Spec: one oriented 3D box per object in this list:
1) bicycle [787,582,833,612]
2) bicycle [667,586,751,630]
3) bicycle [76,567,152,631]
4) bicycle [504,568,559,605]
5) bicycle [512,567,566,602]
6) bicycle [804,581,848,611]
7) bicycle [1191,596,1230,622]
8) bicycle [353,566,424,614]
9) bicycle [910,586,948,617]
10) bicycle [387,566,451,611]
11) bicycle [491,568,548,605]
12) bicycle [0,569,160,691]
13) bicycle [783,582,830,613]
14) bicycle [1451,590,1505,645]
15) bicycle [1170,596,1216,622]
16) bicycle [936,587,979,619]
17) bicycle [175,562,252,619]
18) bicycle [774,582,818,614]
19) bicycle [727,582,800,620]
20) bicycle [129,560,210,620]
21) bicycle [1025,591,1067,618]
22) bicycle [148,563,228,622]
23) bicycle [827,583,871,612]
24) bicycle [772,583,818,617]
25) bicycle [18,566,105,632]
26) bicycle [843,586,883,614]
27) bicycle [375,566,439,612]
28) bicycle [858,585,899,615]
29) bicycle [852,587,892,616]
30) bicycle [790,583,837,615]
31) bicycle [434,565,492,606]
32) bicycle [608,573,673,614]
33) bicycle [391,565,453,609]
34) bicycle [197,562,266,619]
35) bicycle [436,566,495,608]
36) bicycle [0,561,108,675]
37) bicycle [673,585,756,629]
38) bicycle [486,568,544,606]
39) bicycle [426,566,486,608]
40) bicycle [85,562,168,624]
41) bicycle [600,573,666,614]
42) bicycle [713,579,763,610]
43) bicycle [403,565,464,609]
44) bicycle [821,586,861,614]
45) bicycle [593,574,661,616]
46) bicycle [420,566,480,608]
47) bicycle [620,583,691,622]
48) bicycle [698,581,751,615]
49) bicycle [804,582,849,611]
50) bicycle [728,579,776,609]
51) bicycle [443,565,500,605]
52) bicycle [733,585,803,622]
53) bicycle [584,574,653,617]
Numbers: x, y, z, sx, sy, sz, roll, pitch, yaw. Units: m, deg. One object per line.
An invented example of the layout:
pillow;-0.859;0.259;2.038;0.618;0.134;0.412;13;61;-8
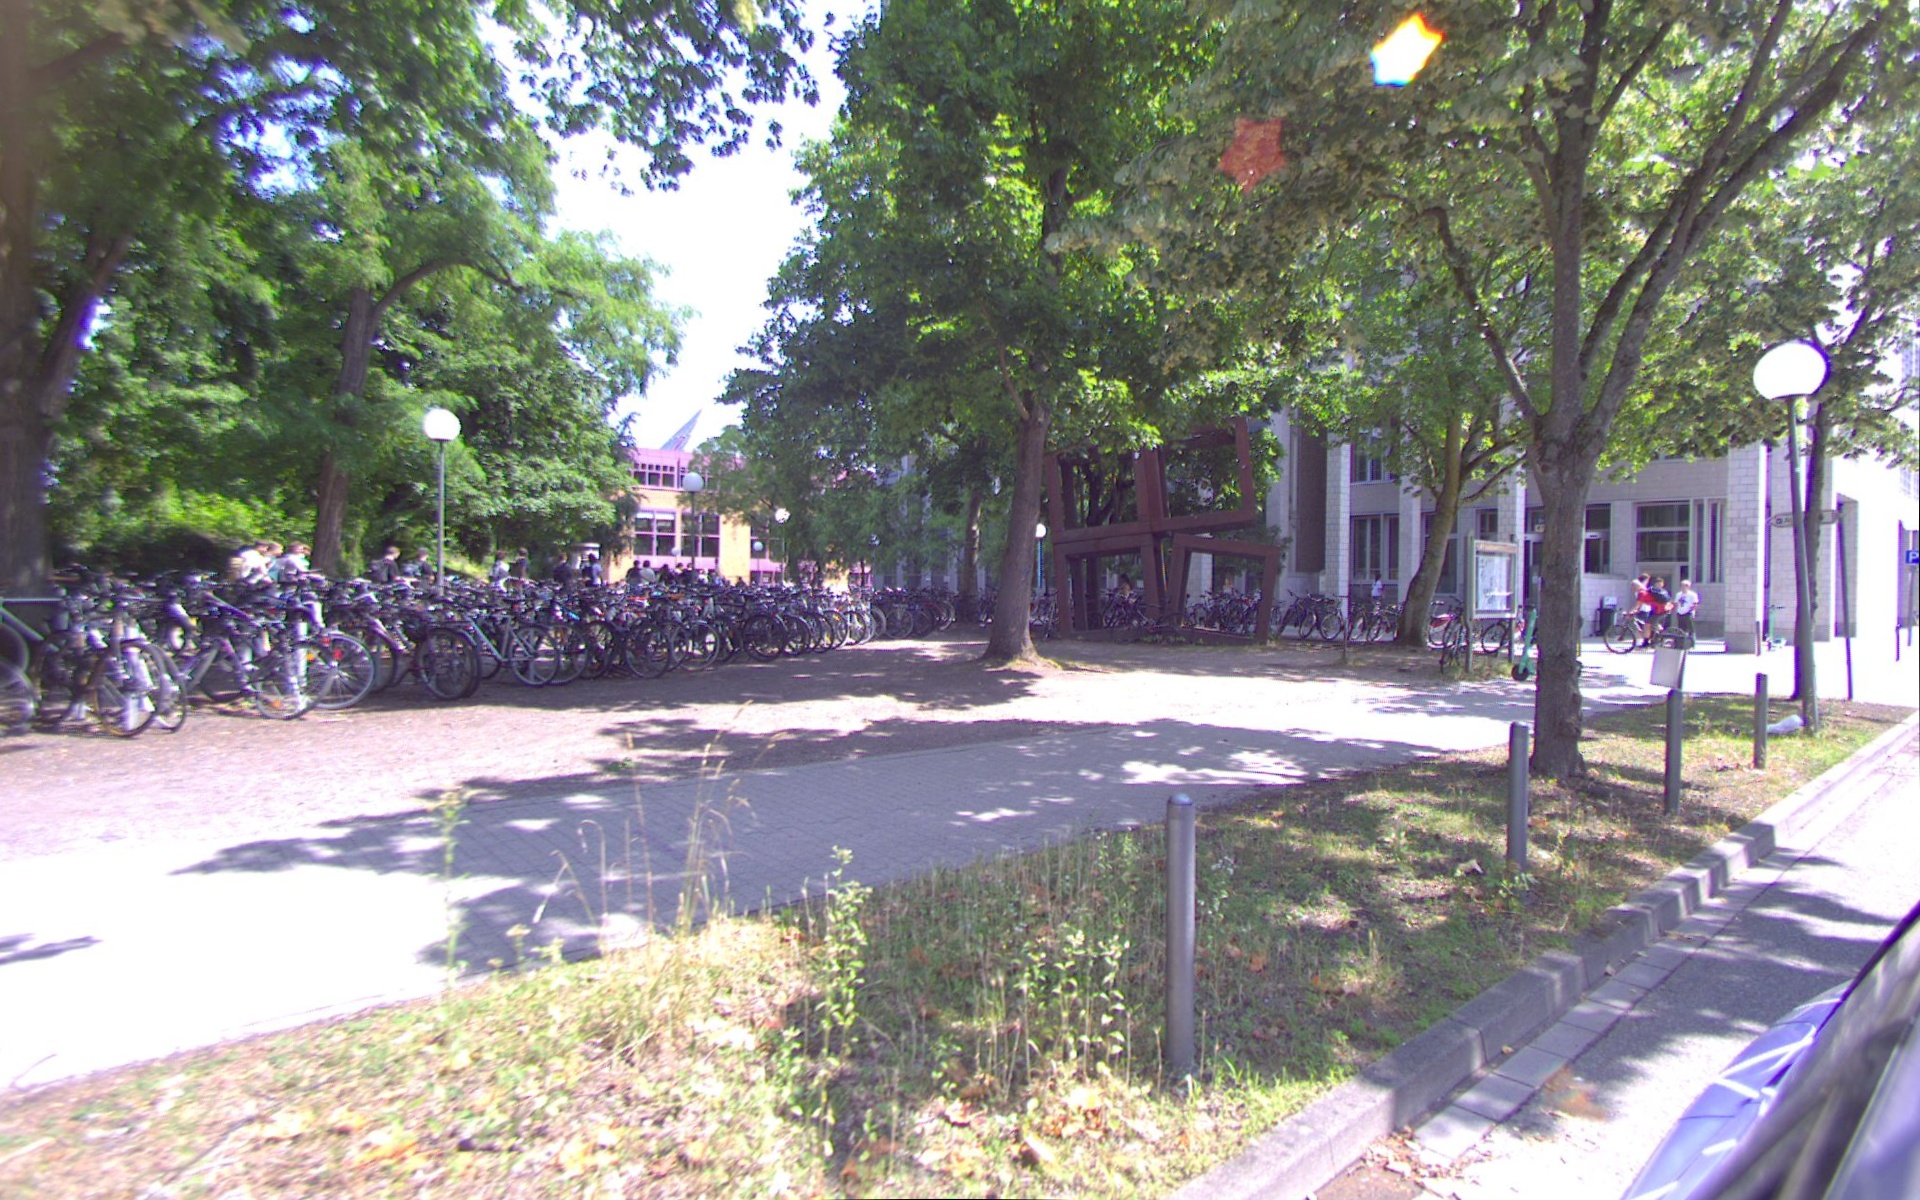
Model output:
bicycle;-5.487;-0.110;37.072;1.653;1.098;0.479;0;-2;-9
bicycle;-5.976;0.179;24.095;1.871;0.991;0.478;2;1;6
bicycle;-15.495;-0.035;18.530;1.591;1.107;0.346;2;1;21
bicycle;-13.347;-0.437;31.539;1.581;1.107;0.348;1;1;1
bicycle;-13.563;-0.499;32.621;1.581;1.107;0.348;1;1;1
bicycle;-5.099;-0.150;38.416;1.653;1.098;0.479;0;-2;-9
bicycle;9.139;0.325;36.874;1.743;0.911;0.337;-1;0;-36
bicycle;-13.943;-0.254;24.682;1.586;1.107;0.477;2;1;12
bicycle;-1.111;0.066;36.457;0.475;1.098;1.666;-2;-2;35
bicycle;-13.829;-0.300;25.851;1.586;1.107;0.347;2;1;12
bicycle;-13.444;-0.414;30.921;1.581;1.107;0.348;1;1;1
bicycle;-8.752;0.258;9.534;0.474;1.096;1.885;2;2;28
bicycle;-5.504;-0.072;36.225;1.653;1.098;0.479;0;-2;-9
bicycle;11.352;0.385;22.156;1.465;1.155;0.560;2;1;-44
bicycle;8.656;0.336;37.562;1.739;0.911;0.449;1;-1;-23
bicycle;-0.069;0.108;35.412;0.477;1.098;1.661;-2;-3;44
bicycle;-15.210;-0.200;20.627;1.591;1.107;0.475;2;2;21
bicycle;-5.617;-0.066;34.640;1.441;1.098;0.353;0;-2;-13
bicycle;-5.343;0.019;27.560;1.870;0.991;0.478;1;1;5
bicycle;-15.292;-0.206;19.564;1.591;1.107;0.475;2;2;21
bicycle;3.586;0.179;42.455;0.561;1.117;1.830;2;-1;-42
bicycle;-15.184;-0.165;19.899;1.591;1.107;0.475;2;2;21
bicycle;-4.428;-0.089;40.443;1.654;1.098;0.529;1;-2;-31
bicycle;-5.480;0.001;33.562;1.450;1.098;0.451;-1;-2;15
bicycle;-15.988;-0.038;17.995;1.591;1.107;0.475;2;2;21
bicycle;-3.836;0.005;40.020;0.527;1.098;1.661;-2;-3;44
bicycle;-13.924;-0.290;25.478;1.586;1.107;0.347;2;1;12
bicycle;-3.059;0.006;38.296;0.477;1.098;1.661;-2;-3;44
bicycle;-3.436;0.069;39.666;0.527;1.098;1.661;-2;-3;44
bicycle;-5.185;-0.034;35.783;1.653;1.098;0.479;0;-2;-9
bicycle;-14.015;-0.424;28.526;1.586;1.107;0.347;2;1;12
bicycle;-8.206;-0.176;25.992;1.571;0.991;0.403;2;1;10
bicycle;-14.107;-0.348;26.552;1.586;1.107;0.347;2;1;12
bicycle;-15.097;-0.209;20.959;1.591;1.107;0.346;2;1;21
bicycle;-13.641;-0.375;27.921;1.586;1.107;0.347;2;1;12
bicycle;-9.527;0.173;9.822;0.474;1.096;1.885;2;2;28
bicycle;-5.932;0.168;24.475;1.871;0.991;0.478;2;1;6
bicycle;-13.442;-0.398;30.574;1.581;1.107;0.348;1;1;1
bicycle;-13.737;-0.365;27.586;1.586;1.107;0.347;2;1;12
bicycle;-15.610;-0.148;18.953;1.591;1.107;0.475;2;2;21
bicycle;-8.276;-0.165;25.603;1.571;0.991;0.403;2;1;10
bicycle;-7.902;-0.199;36.048;1.655;1.098;0.479;0;-2;-2
bicycle;-14.003;-0.350;26.910;1.586;1.107;0.347;2;1;12
bicycle;-4.825;-0.005;41.088;0.527;1.098;1.661;-2;-3;44
bicycle;-8.189;-0.127;24.886;1.571;0.991;0.403;2;1;10
bicycle;-13.770;-0.357;27.345;1.586;1.107;0.335;2;1;12
bicycle;-8.152;0.052;27.104;1.769;0.991;0.378;1;1;3
bicycle;-7.731;-0.066;33.294;1.653;1.098;0.479;0;-2;-8
bicycle;-5.015;-0.124;37.946;1.653;1.098;0.479;0;-2;-9
bicycle;-7.591;-0.222;36.921;1.655;1.098;0.479;0;-2;-2
bicycle;-13.948;-0.437;28.873;1.586;1.107;0.347;2;1;12
bicycle;-5.418;0.085;28.621;1.867;0.991;0.479;1;1;0
bicycle;-8.263;-0.113;24.484;1.571;0.991;0.403;2;1;10
